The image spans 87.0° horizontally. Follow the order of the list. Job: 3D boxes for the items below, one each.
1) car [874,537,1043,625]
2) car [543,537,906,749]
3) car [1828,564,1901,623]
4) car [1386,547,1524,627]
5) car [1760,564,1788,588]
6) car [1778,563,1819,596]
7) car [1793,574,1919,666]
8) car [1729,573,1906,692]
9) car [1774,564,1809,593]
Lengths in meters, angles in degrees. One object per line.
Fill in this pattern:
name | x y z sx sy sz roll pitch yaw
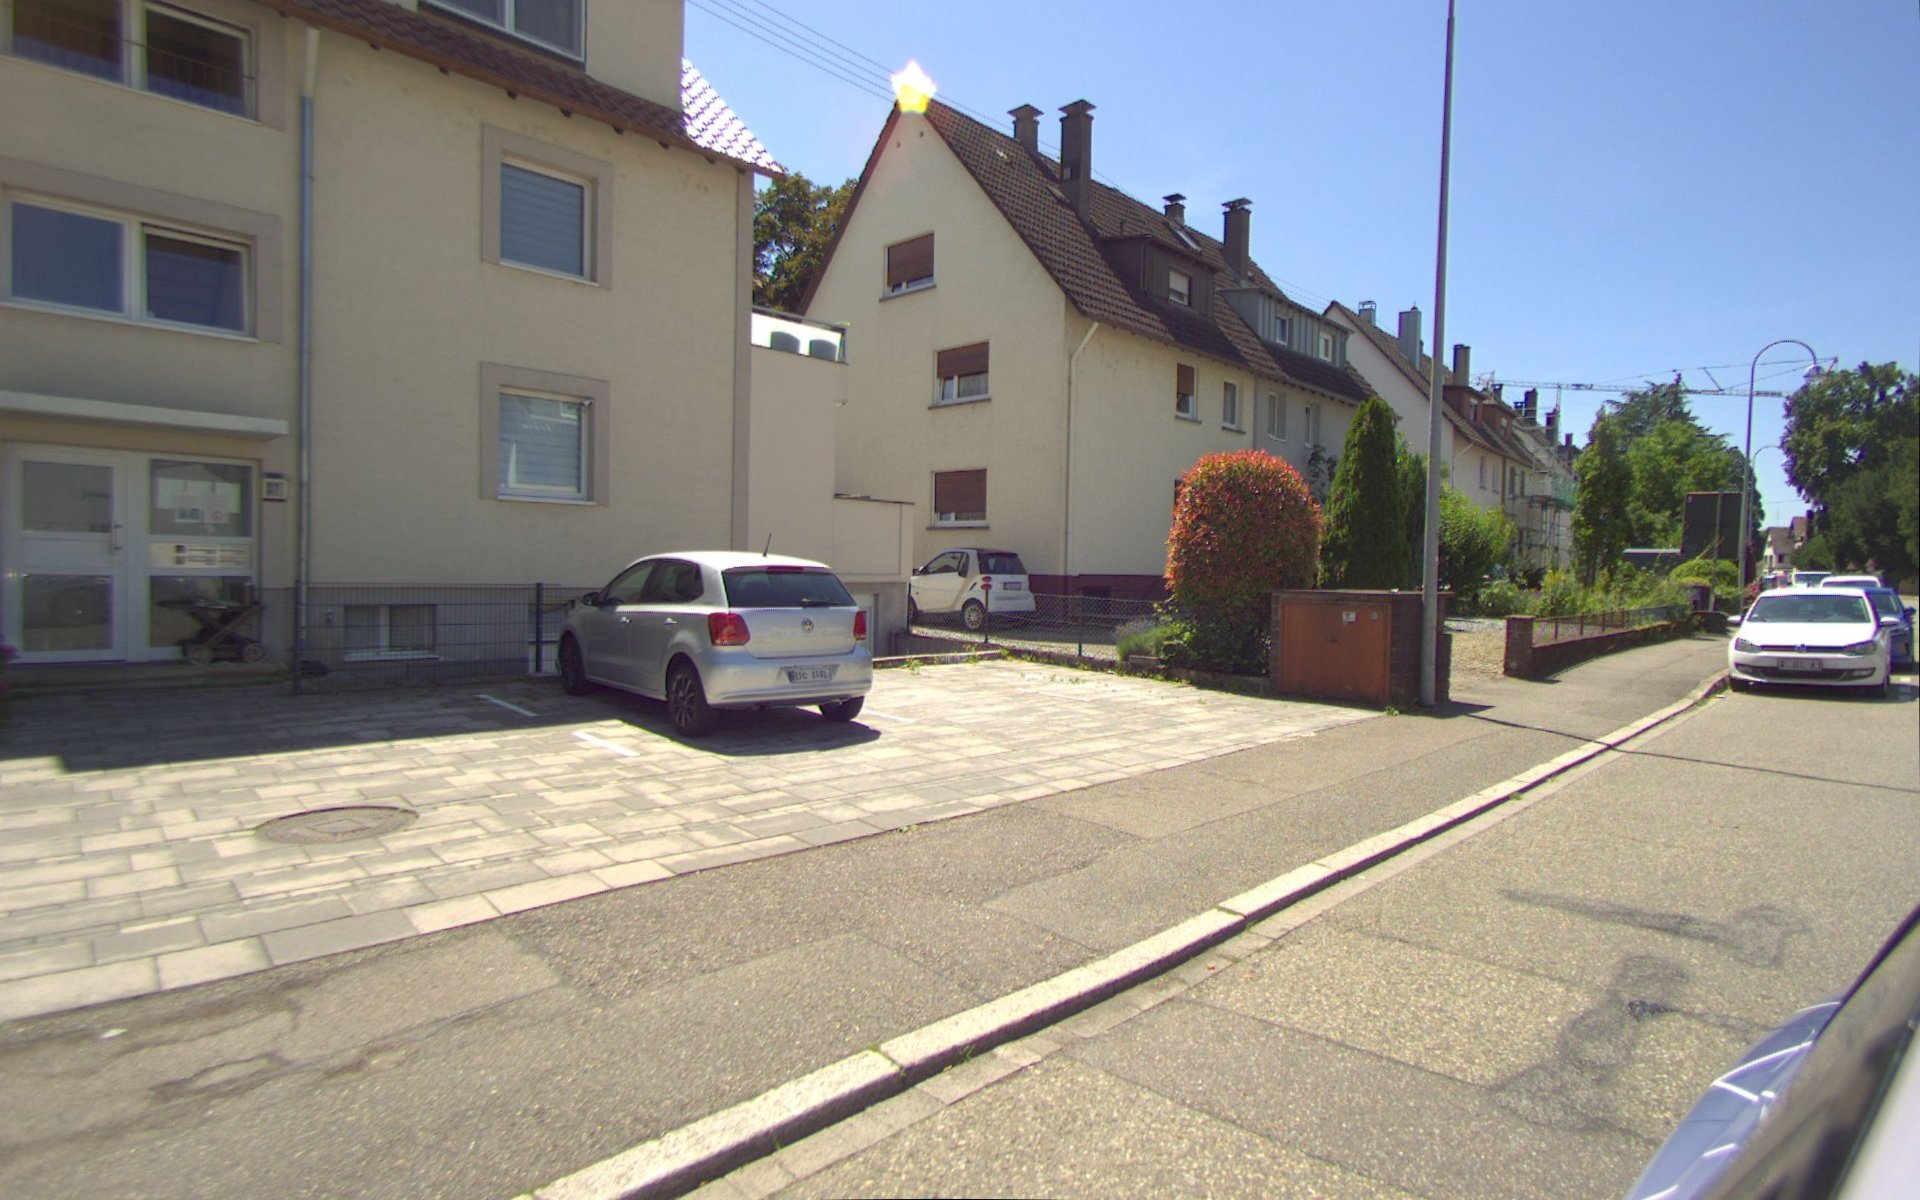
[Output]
car | -0.067 -0.425 20.140 3.148 1.571 1.546 4 4 43
car | -2.314 0.291 9.338 1.747 1.549 3.624 -2 1 -41
car | 29.442 -0.237 33.006 1.683 1.801 3.882 -1 1 41
car | 12.705 -0.381 25.857 1.917 1.873 4.459 1 2 44
car | 66.138 -1.956 82.260 1.681 1.801 3.887 -1 1 38
car | 48.095 -1.168 58.026 1.683 1.801 3.882 -1 1 41
car | 16.627 0.284 18.603 1.684 1.472 4.294 0 1 44
car | 12.340 0.363 14.483 1.684 1.473 3.680 0 1 44
car | 55.709 -1.455 67.797 1.683 1.801 3.882 -1 1 41
